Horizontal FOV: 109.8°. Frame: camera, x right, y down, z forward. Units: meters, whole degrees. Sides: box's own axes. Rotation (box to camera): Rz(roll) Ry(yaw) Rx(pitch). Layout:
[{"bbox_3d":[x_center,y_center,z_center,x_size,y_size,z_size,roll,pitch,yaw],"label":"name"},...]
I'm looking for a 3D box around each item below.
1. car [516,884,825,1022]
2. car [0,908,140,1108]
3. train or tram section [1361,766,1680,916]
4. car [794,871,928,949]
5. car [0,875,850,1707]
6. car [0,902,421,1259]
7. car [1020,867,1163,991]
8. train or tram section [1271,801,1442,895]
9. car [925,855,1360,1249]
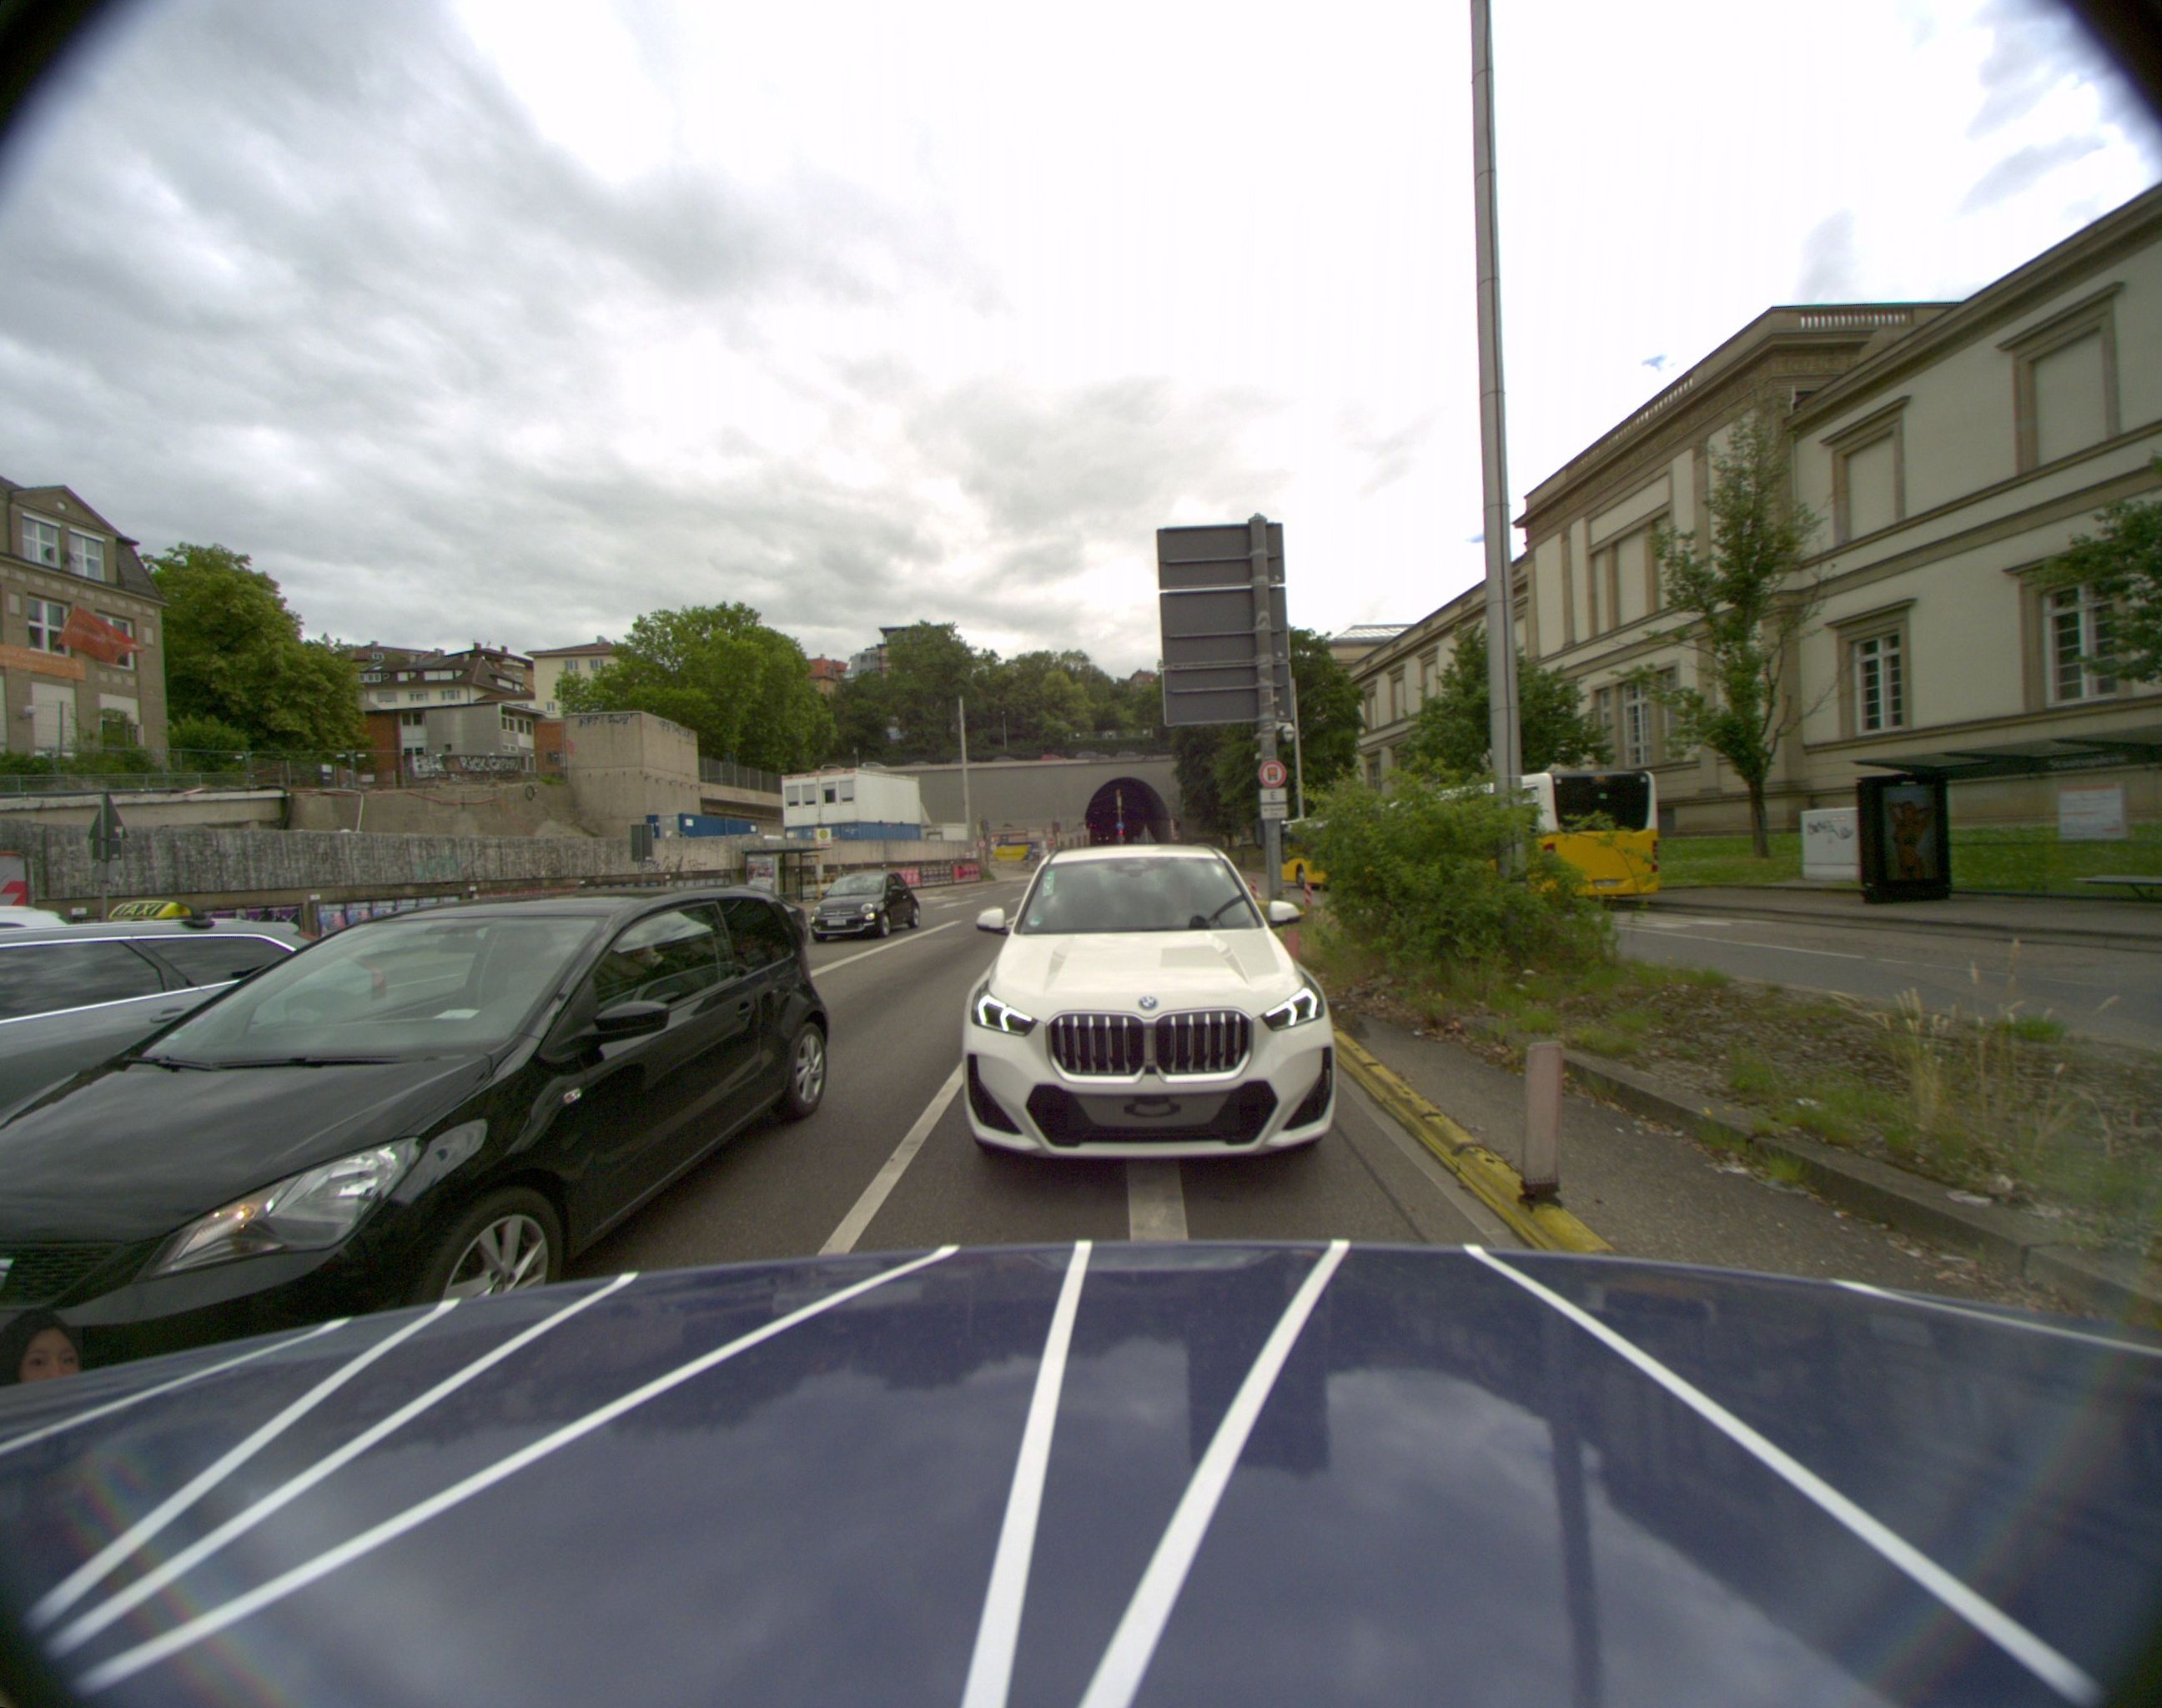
[{"bbox_3d":[-5.400,1.221,10.758,1.826,1.356,4.219,-2,0,4],"label":"car"},{"bbox_3d":[-9.151,1.254,4.576,1.826,1.457,4.073,-2,1,0],"label":"car"},{"bbox_3d":[10.803,-0.266,20.329,2.701,3.053,9.333,-1,0,-3],"label":"train or tram section"},{"bbox_3d":[-4.968,1.218,17.729,1.720,1.450,3.782,-3,0,4],"label":"car"},{"bbox_3d":[-2.530,0.974,3.272,1.661,1.547,3.911,-2,1,3],"label":"car"},{"bbox_3d":[-5.825,1.139,3.452,1.826,1.457,4.217,-2,1,2],"label":"car"},{"bbox_3d":[0.220,0.985,11.596,1.756,1.427,3.911,-2,0,3],"label":"car"},{"bbox_3d":[10.243,-0.201,29.672,2.701,3.053,9.373,-1,0,-4],"label":"train or tram section"},{"bbox_3d":[0.338,0.844,5.120,1.756,1.547,3.911,-2,1,3],"label":"car"}]
